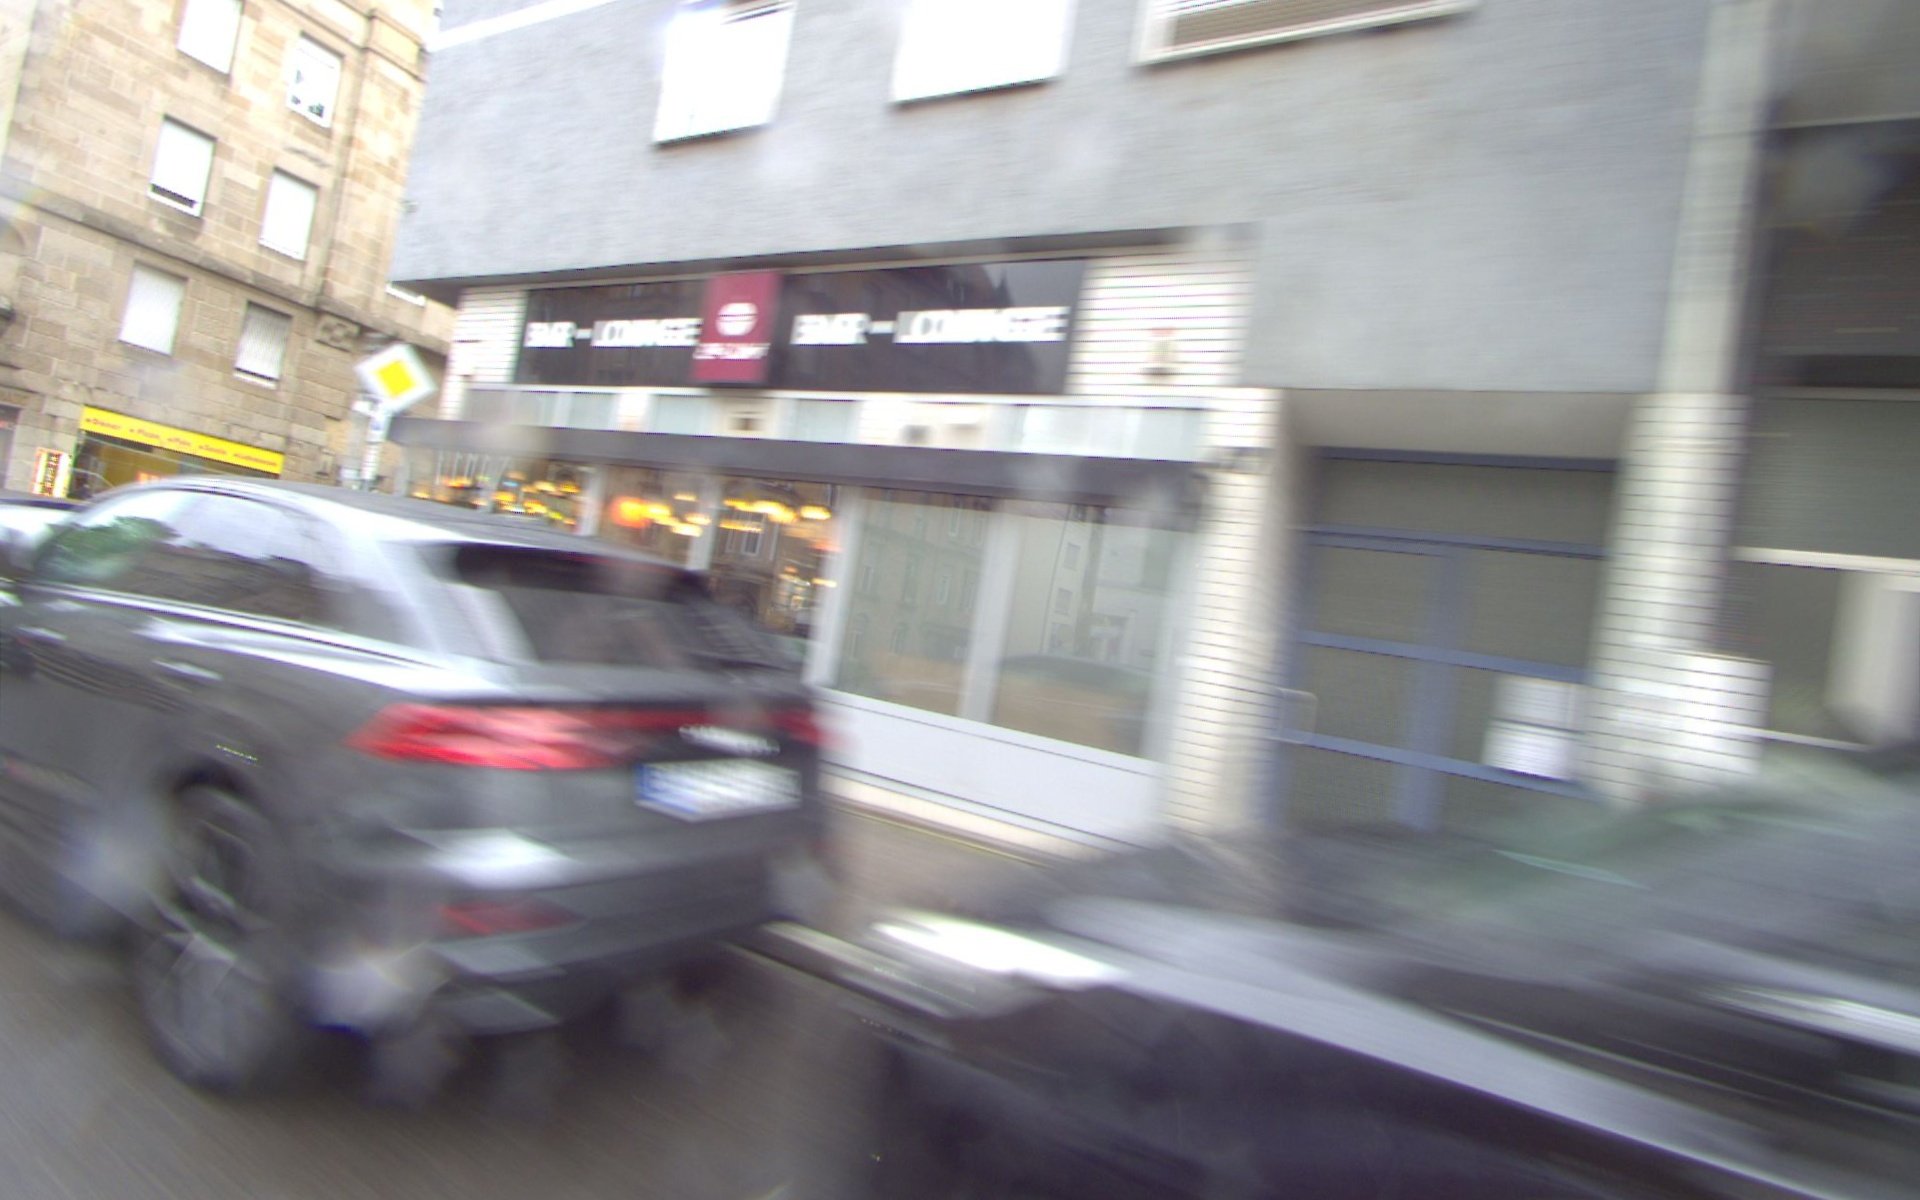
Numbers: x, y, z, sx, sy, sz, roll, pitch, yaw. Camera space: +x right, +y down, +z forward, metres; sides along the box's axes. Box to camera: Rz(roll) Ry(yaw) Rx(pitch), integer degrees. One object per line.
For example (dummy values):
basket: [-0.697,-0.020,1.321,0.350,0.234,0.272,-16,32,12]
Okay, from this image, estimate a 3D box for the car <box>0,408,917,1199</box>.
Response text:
car: [-2.637,0.348,4.101,4.489,1.780,1.797,7,-2,31]

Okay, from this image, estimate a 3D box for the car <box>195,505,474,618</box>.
car: [-13.656,-0.767,22.306,1.966,1.884,4.785,7,0,30]

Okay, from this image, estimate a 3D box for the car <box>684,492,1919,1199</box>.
car: [1.787,0.926,1.514,4.179,1.674,1.821,7,0,31]

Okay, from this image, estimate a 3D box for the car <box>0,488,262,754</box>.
car: [-6.914,-0.049,6.958,3.861,1.500,1.695,7,-1,27]
